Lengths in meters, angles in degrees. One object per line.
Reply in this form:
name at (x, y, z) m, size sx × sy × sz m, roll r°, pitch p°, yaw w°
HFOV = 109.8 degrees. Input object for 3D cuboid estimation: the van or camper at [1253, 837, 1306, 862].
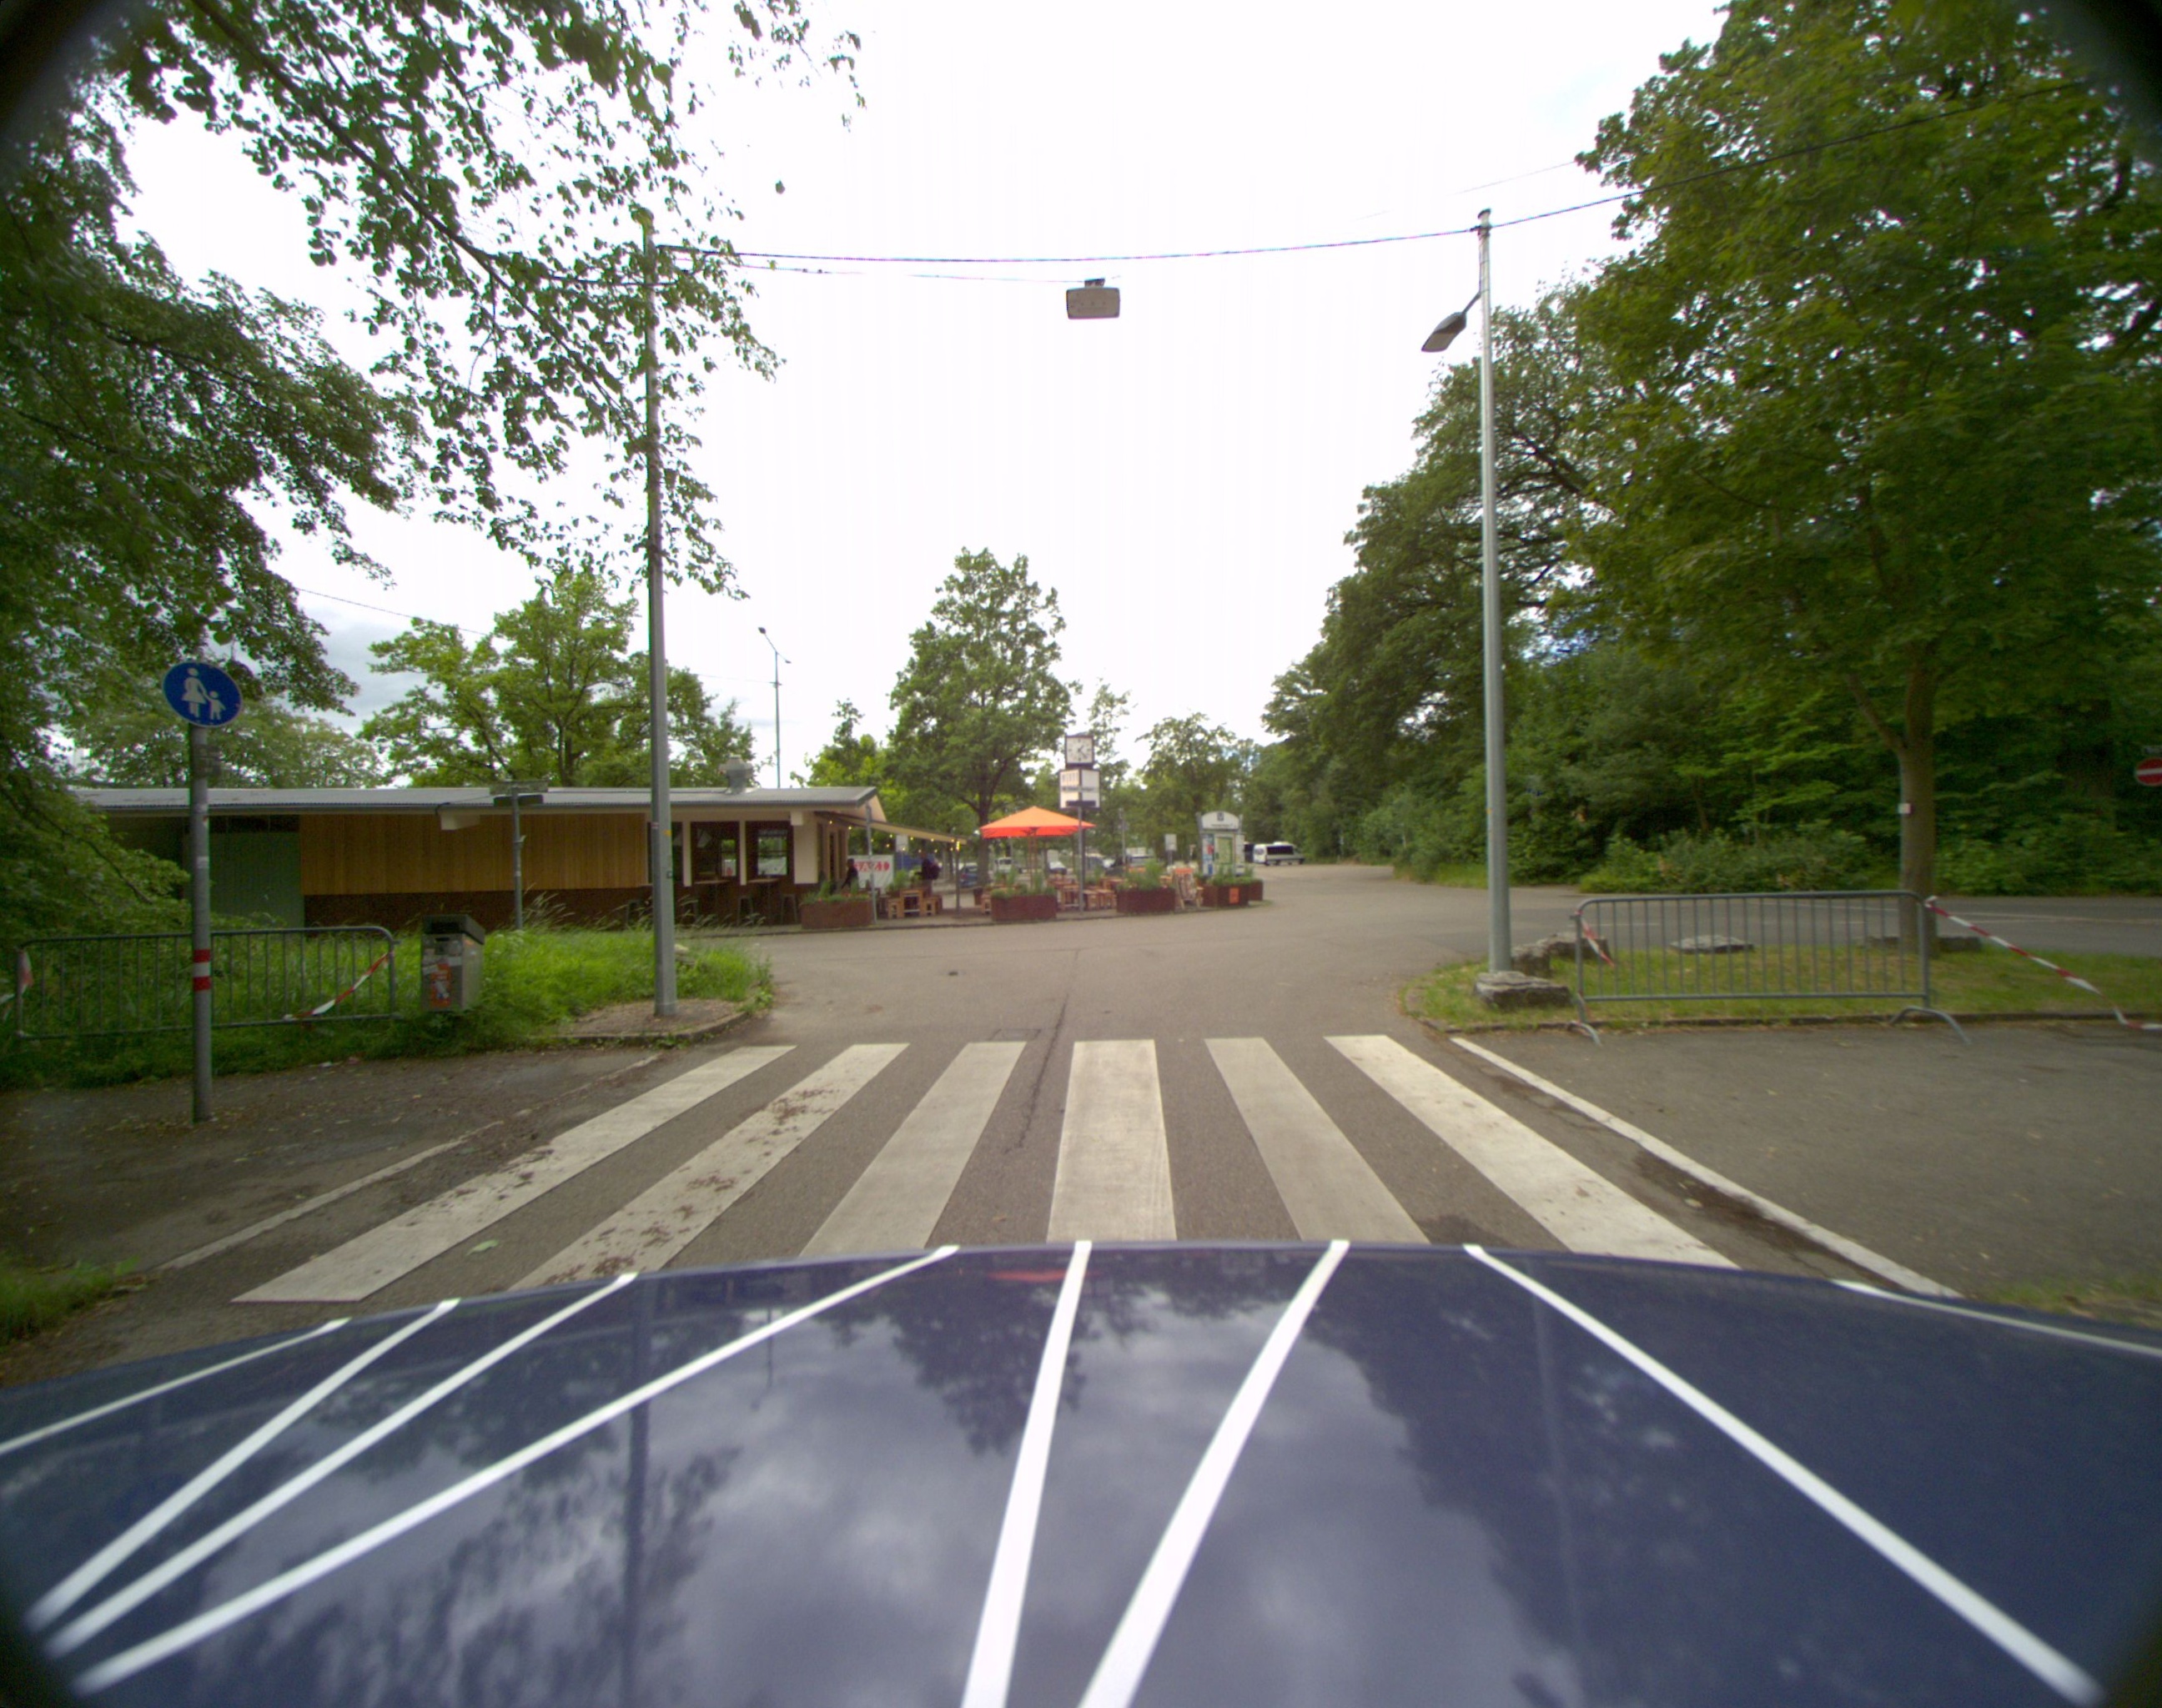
van or camper at (24.646, -0.566, 94.120) m, size 7.353 × 2.833 × 2.063 m, roll -2°, pitch 0°, yaw -36°

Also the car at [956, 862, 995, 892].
car at (-6.016, 1.271, 42.953) m, size 2.000 × 1.543 × 3.997 m, roll -2°, pitch 0°, yaw -10°

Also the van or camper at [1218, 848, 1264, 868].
van or camper at (24.938, 0.579, 118.081) m, size 7.351 × 2.833 × 2.199 m, roll -2°, pitch 0°, yaw -32°

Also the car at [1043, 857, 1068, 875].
car at (-2.765, 1.264, 81.539) m, size 1.878 × 1.769 × 4.291 m, roll -2°, pitch 0°, yaw -13°

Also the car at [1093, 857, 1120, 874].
car at (2.768, 1.259, 82.645) m, size 1.878 × 1.769 × 4.291 m, roll -2°, pitch 0°, yaw -13°

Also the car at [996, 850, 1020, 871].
car at (-7.817, 0.703, 80.752) m, size 1.878 × 2.027 × 4.585 m, roll -2°, pitch 0°, yaw -13°

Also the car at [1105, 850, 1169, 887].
car at (2.643, 0.691, 37.023) m, size 1.936 × 1.660 × 4.341 m, roll -2°, pitch 0°, yaw -12°

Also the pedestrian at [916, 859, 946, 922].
pedestrian at (-4.453, 1.078, 22.608) m, size 0.749 × 1.820 × 0.710 m, roll -2°, pitch 0°, yaw -4°

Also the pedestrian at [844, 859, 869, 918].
pedestrian at (-6.486, 0.986, 22.008) m, size 0.531 × 1.657 × 0.595 m, roll -2°, pitch 0°, yaw -6°

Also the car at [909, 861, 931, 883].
car at (-15.578, 1.695, 73.448) m, size 2.001 × 2.002 × 3.996 m, roll -2°, pitch 0°, yaw -13°
